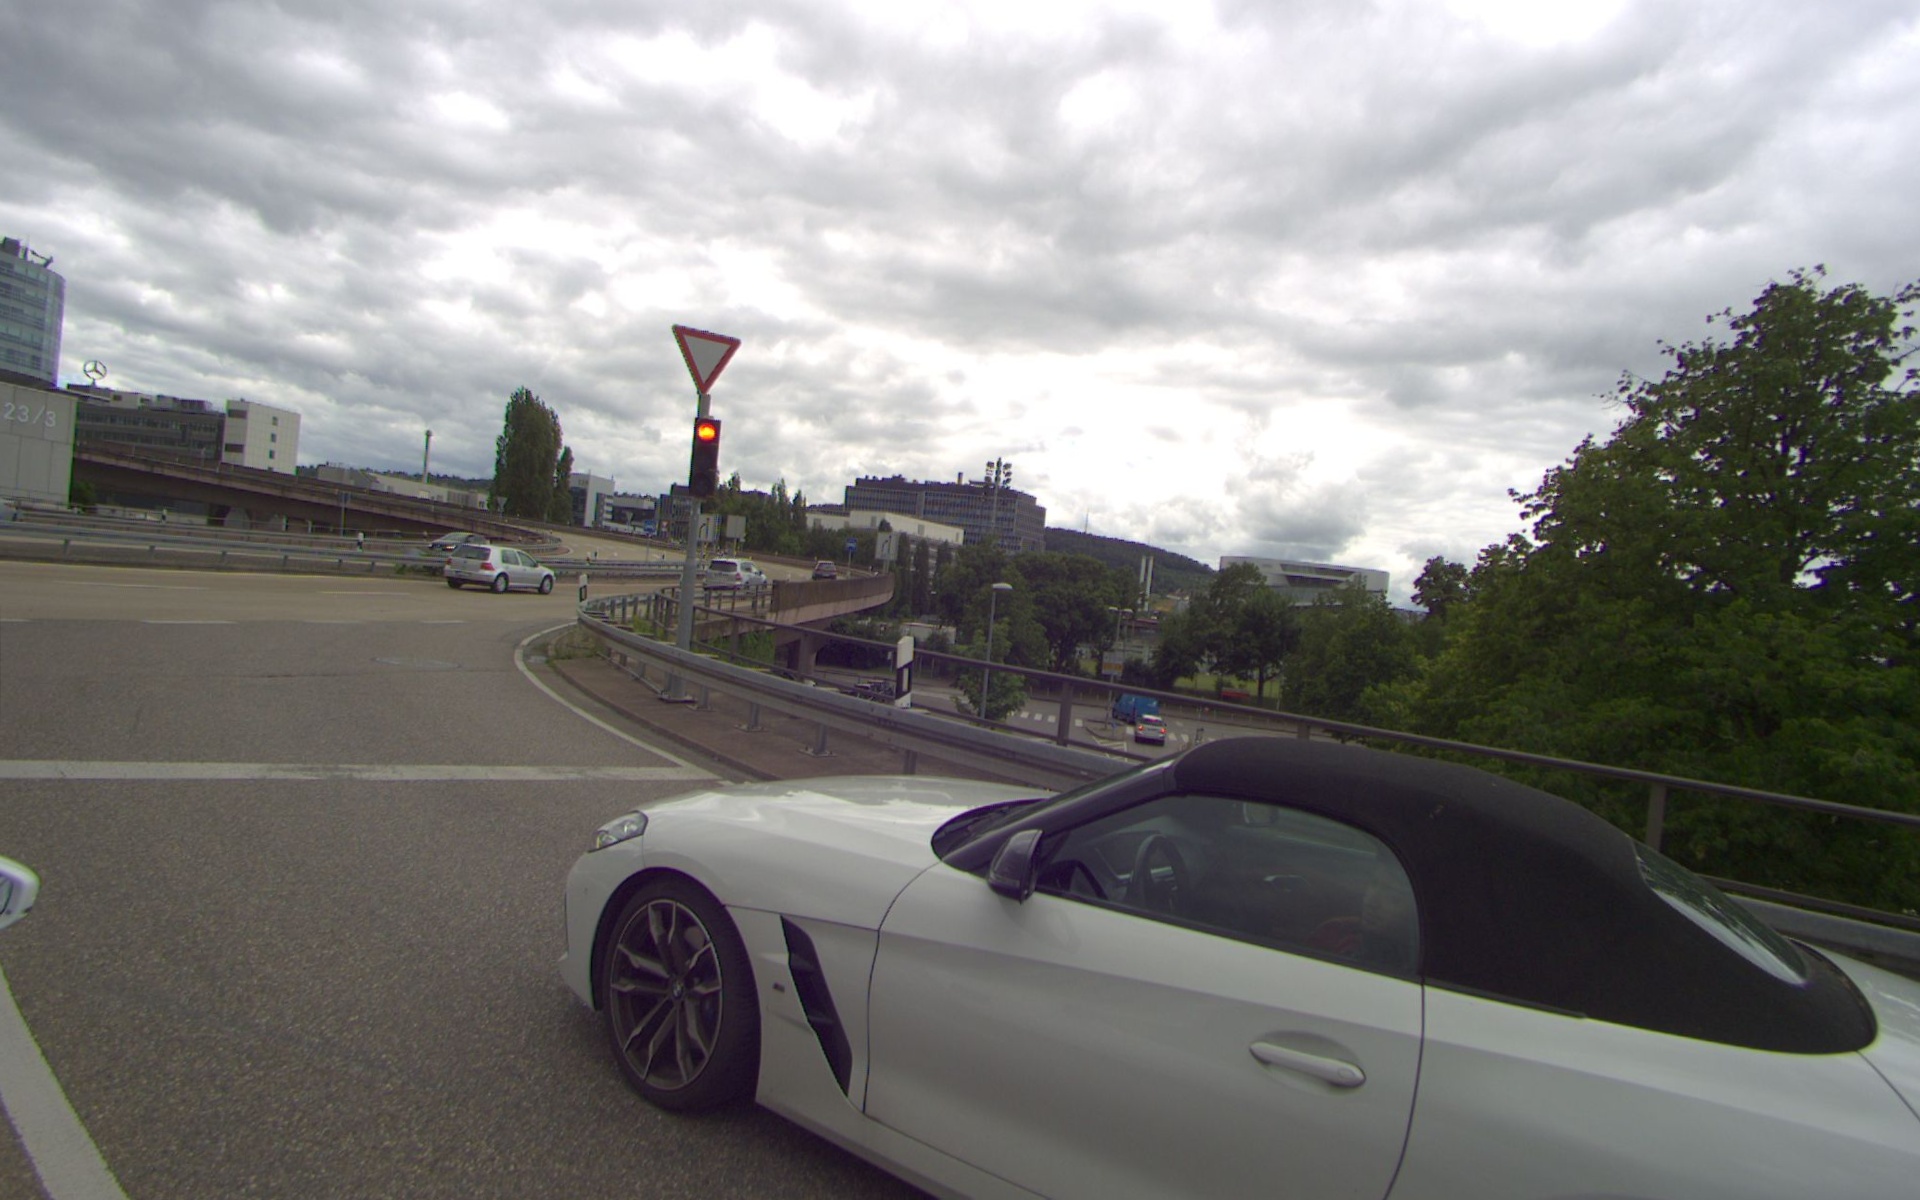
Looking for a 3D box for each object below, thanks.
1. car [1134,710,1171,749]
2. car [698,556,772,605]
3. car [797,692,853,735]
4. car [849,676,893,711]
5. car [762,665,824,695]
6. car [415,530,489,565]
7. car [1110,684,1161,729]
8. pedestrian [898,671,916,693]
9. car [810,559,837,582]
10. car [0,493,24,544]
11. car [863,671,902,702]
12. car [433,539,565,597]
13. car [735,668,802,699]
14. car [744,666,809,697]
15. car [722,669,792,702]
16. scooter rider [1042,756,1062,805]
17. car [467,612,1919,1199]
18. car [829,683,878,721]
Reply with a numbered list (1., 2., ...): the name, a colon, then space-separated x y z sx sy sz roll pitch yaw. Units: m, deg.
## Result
1. car: 12.617 8.471 66.039 1.978 1.883 4.868 10 -2 10
2. car: -9.801 -0.819 44.187 1.697 1.758 4.557 7 0 5
3. car: -6.861 5.739 51.368 1.792 1.553 4.000 8 0 6
4. car: -5.527 5.833 63.069 1.792 1.553 4.195 8 0 6
5. car: -11.470 5.487 69.128 3.792 1.371 1.826 8 1 1
6. car: -29.223 -2.999 58.036 1.880 1.438 3.997 9 -1 4
7. car: 13.449 8.147 77.399 1.982 2.617 5.387 10 -2 -7
8. pedestrian: -3.972 6.147 75.261 0.898 1.514 0.750 8 -3 15
9. car: -10.541 -2.258 77.518 1.701 1.480 4.234 6 0 -11
10. car: -34.885 -3.194 33.648 1.880 1.679 4.755 8 -4 21
11. car: -5.275 5.858 68.630 1.792 1.553 4.000 8 0 6
12. car: -14.647 -0.974 32.223 1.697 1.417 4.069 7 0 10
13. car: -12.184 5.314 64.228 3.792 1.371 1.826 8 1 1
14. car: -12.069 5.371 66.347 3.792 1.371 1.826 8 1 1
15. car: -12.462 5.266 61.888 3.792 1.371 1.826 8 1 1
16. scooter rider: 3.525 6.875 38.339 0.481 1.761 0.514 8 2 10
17. car: 0.627 0.991 3.009 4.194 1.306 1.808 7 -2 34
18. car: -6.062 5.813 57.709 1.792 1.553 4.000 8 0 6
